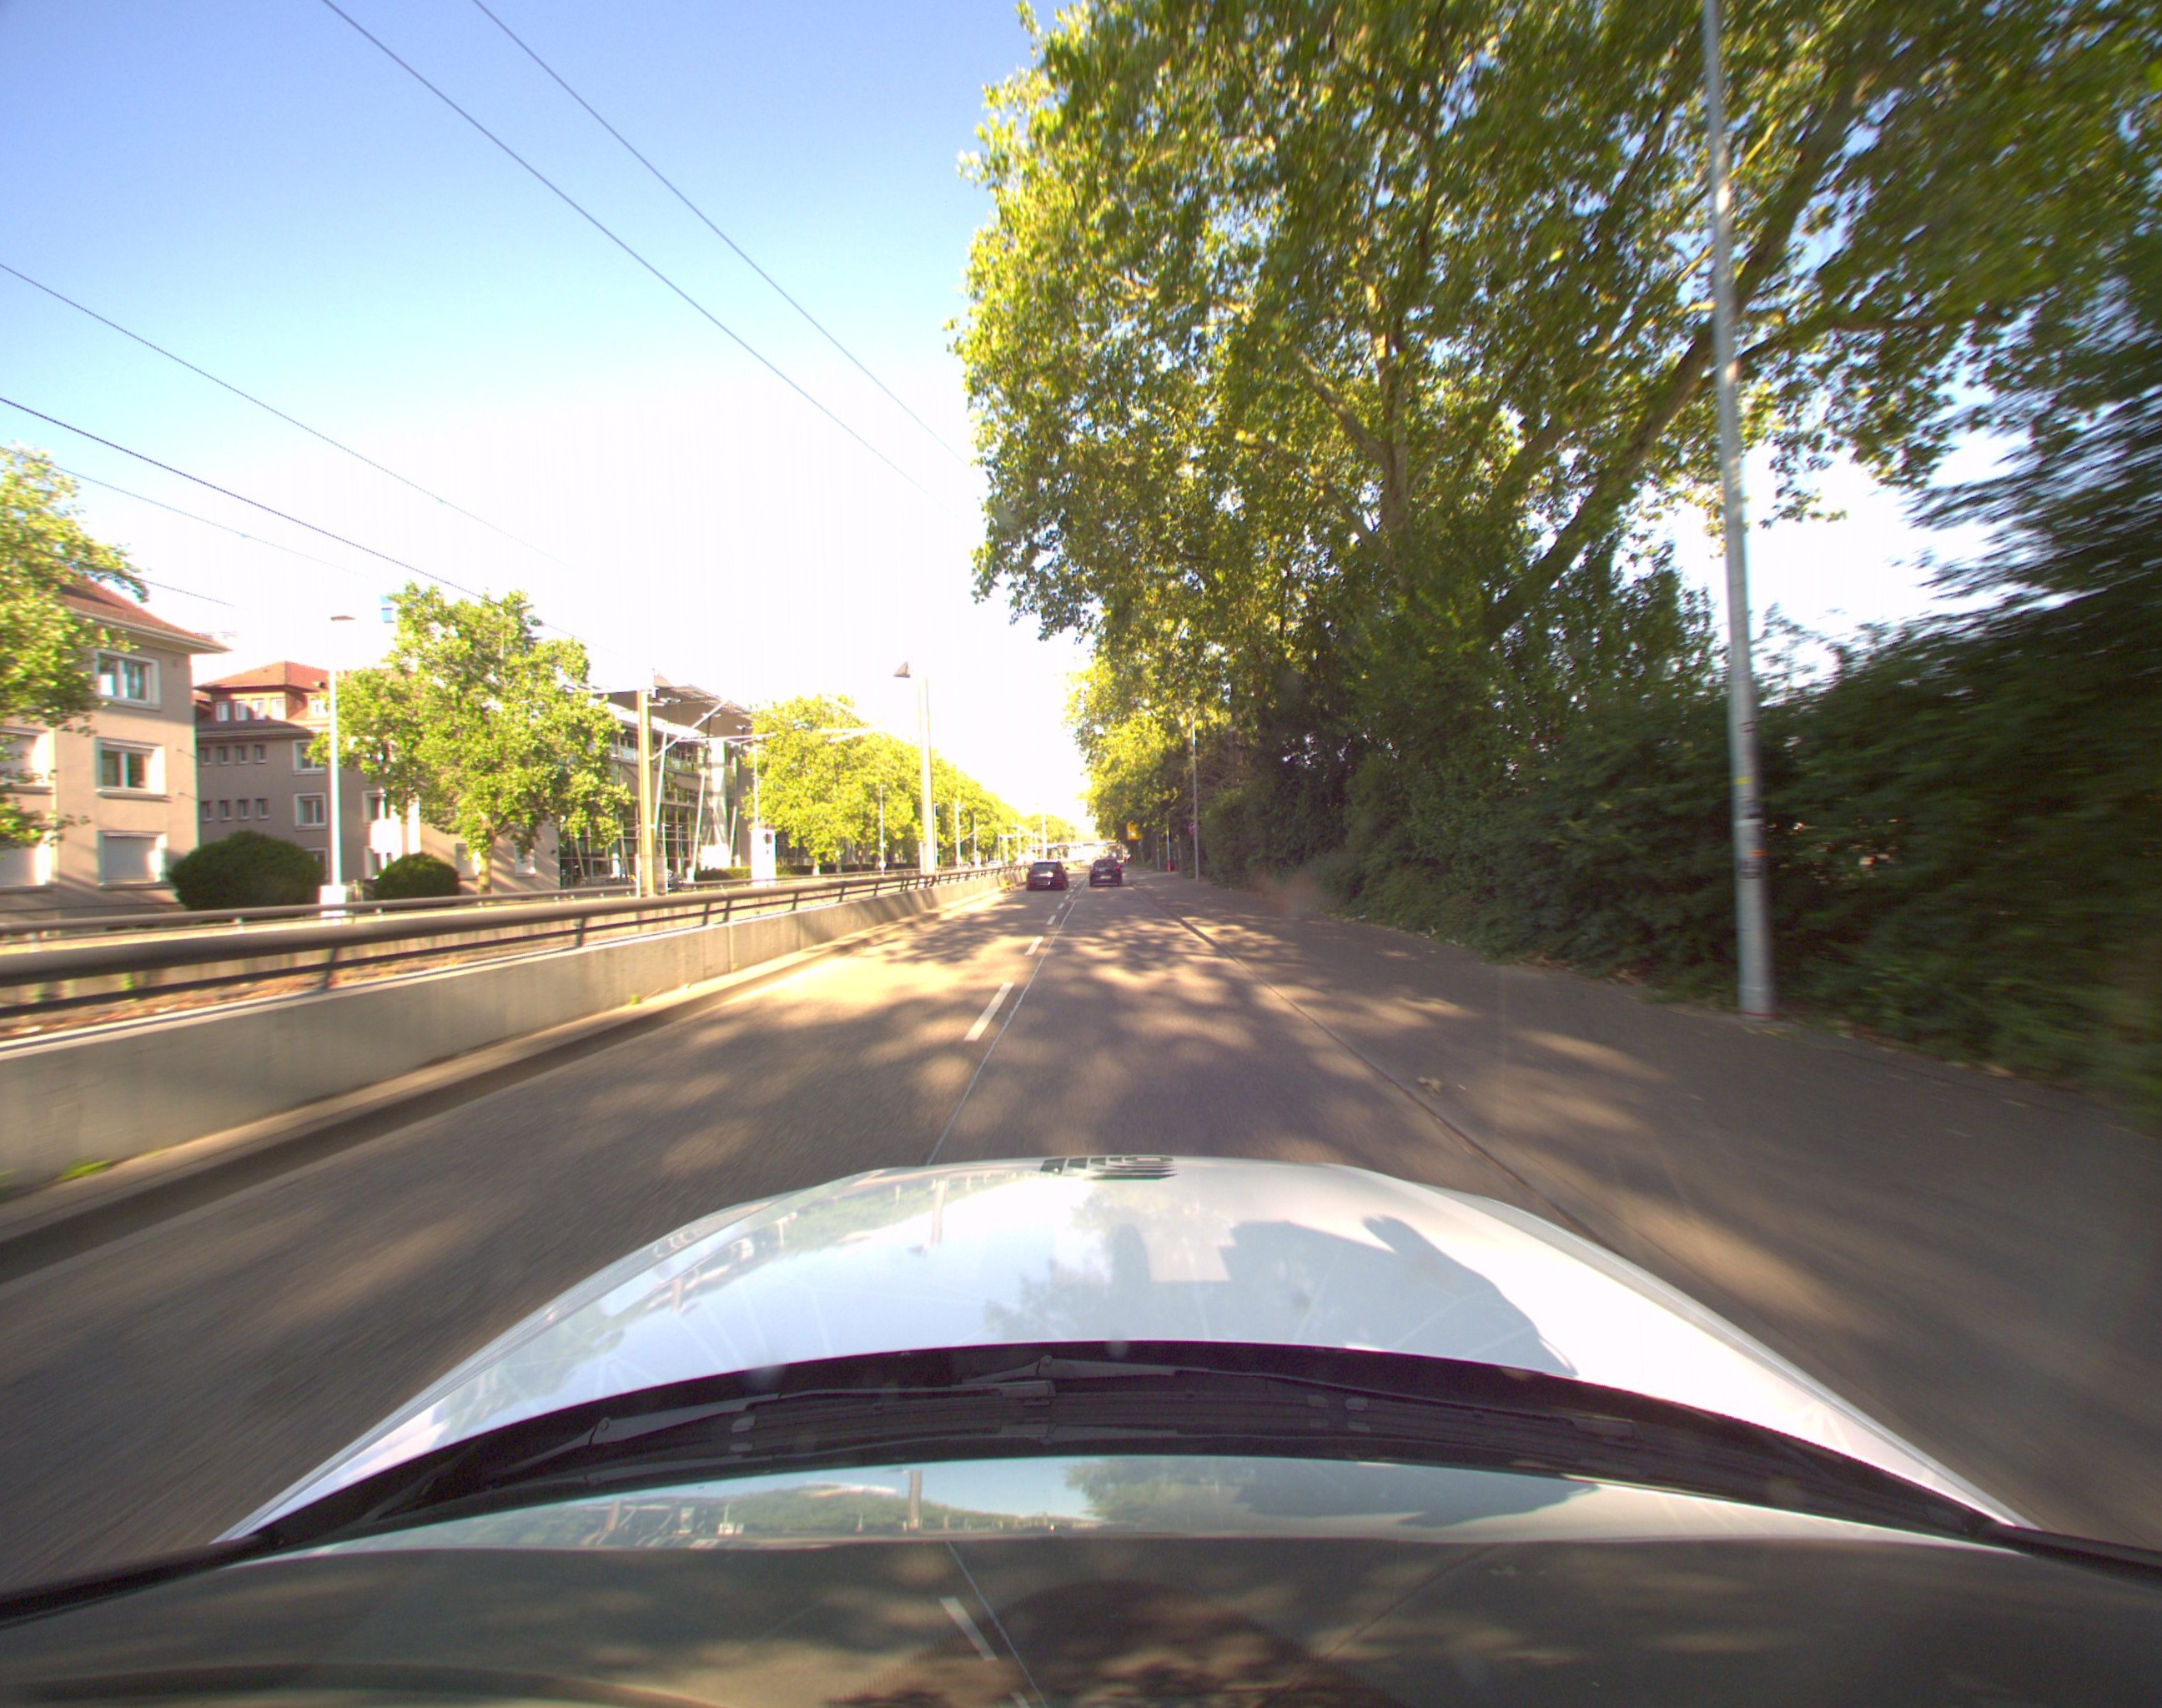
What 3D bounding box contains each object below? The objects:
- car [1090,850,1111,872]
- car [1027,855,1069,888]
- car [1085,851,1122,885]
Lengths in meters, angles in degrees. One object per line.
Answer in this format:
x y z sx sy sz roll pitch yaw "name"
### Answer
1.967 0.689 81.932 1.986 2.013 4.002 -3 0 2 "car"
-1.529 0.803 38.944 1.872 1.457 3.356 0 0 0 "car"
1.151 0.692 42.993 1.757 1.619 3.999 -3 0 0 "car"
